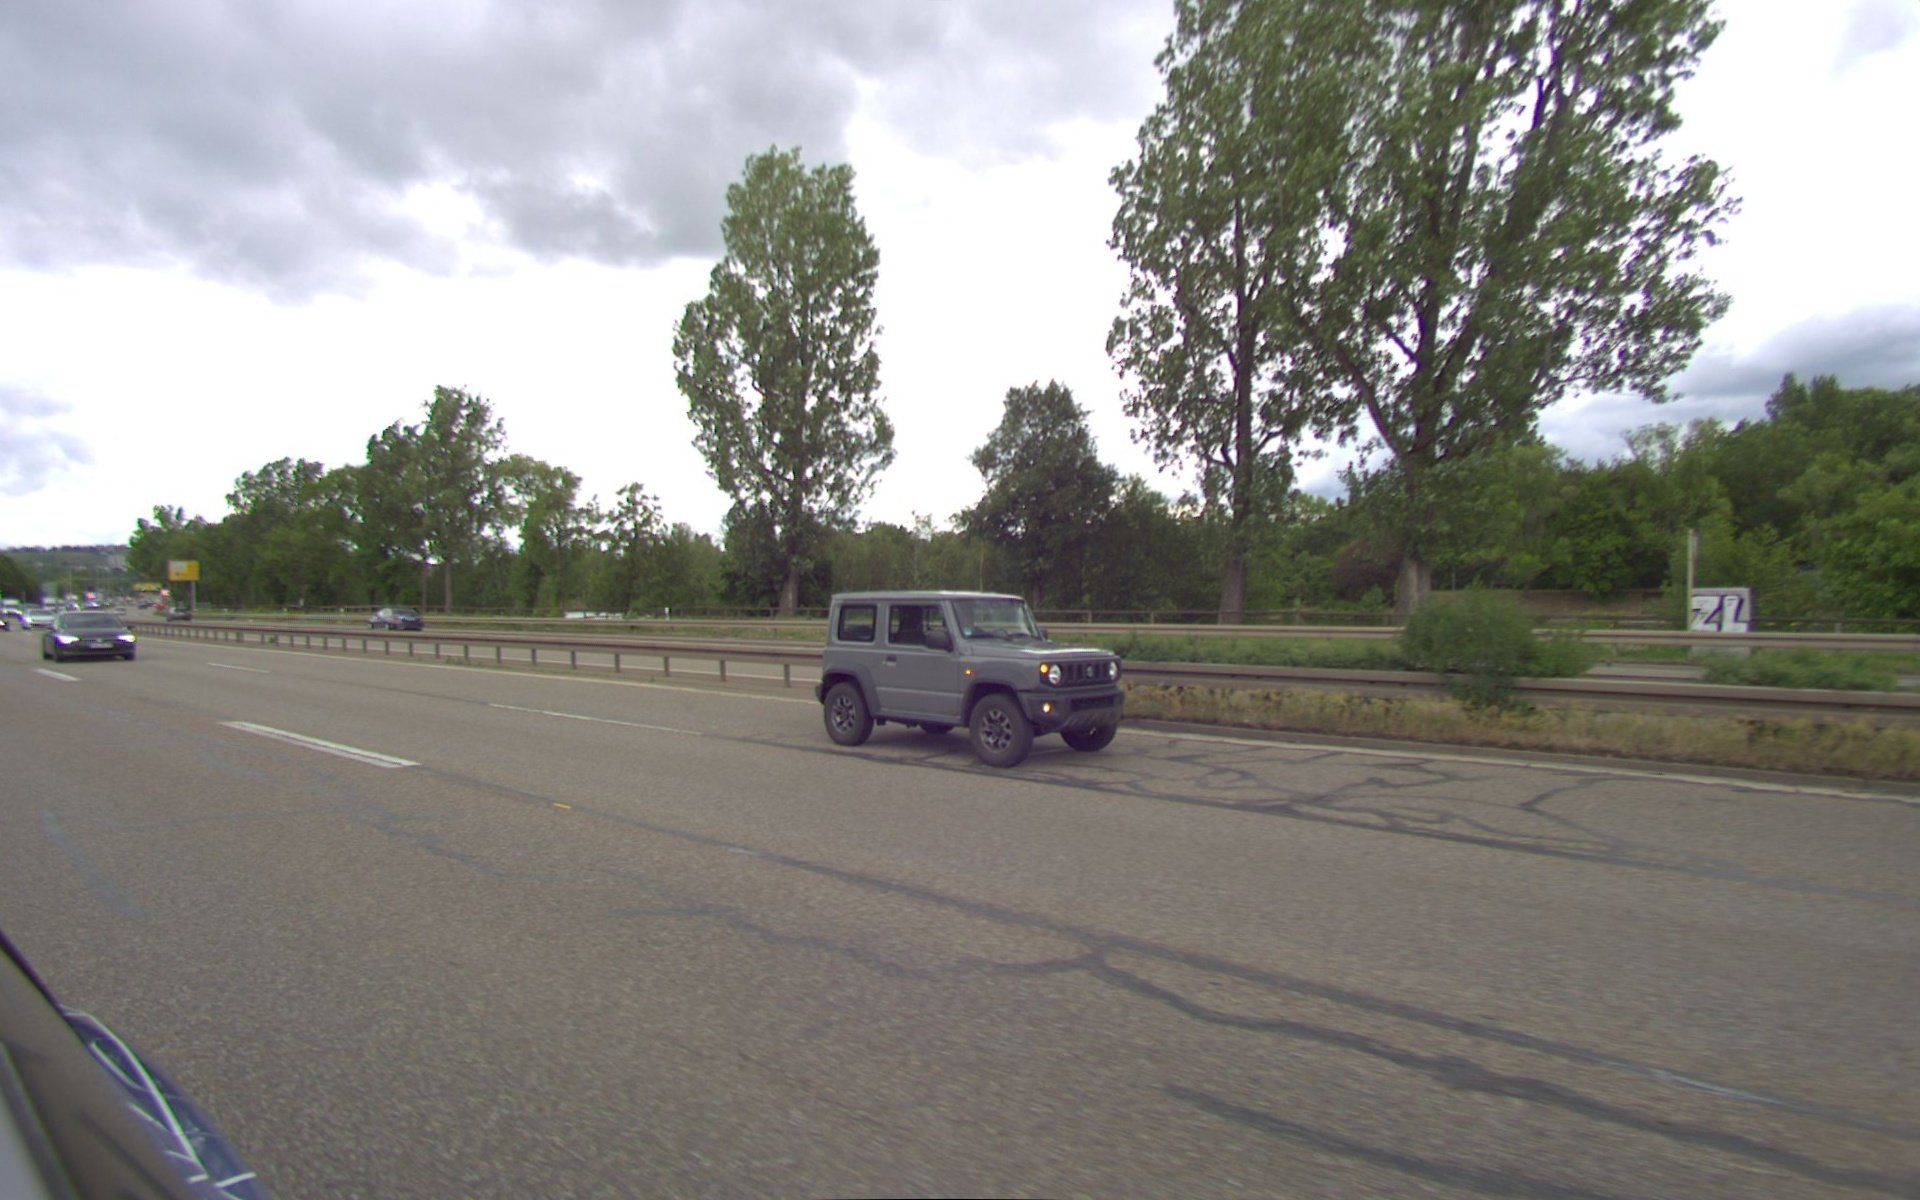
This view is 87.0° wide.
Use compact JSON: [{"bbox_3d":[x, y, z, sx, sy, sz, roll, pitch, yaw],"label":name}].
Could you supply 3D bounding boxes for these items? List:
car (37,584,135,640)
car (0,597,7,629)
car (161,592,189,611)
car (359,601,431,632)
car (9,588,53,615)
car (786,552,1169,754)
[{"bbox_3d":[-25.685,0.358,29.700,1.913,1.512,4.307,1,-1,-44],"label":"car"},{"bbox_3d":[-63.734,0.866,66.179,1.971,2.029,4.003,-2,1,-44],"label":"car"},{"bbox_3d":[-84.918,0.174,109.452,1.970,2.029,5.227,-2,1,-43],"label":"car"},{"bbox_3d":[-31.792,0.917,56.873,4.645,1.621,1.974,-1,1,39],"label":"car"},{"bbox_3d":[-65.324,0.121,71.176,3.998,1.878,1.854,0,0,41],"label":"car"},{"bbox_3d":[0.046,0.457,10.749,3.999,1.749,1.662,0,0,43],"label":"car"}]
